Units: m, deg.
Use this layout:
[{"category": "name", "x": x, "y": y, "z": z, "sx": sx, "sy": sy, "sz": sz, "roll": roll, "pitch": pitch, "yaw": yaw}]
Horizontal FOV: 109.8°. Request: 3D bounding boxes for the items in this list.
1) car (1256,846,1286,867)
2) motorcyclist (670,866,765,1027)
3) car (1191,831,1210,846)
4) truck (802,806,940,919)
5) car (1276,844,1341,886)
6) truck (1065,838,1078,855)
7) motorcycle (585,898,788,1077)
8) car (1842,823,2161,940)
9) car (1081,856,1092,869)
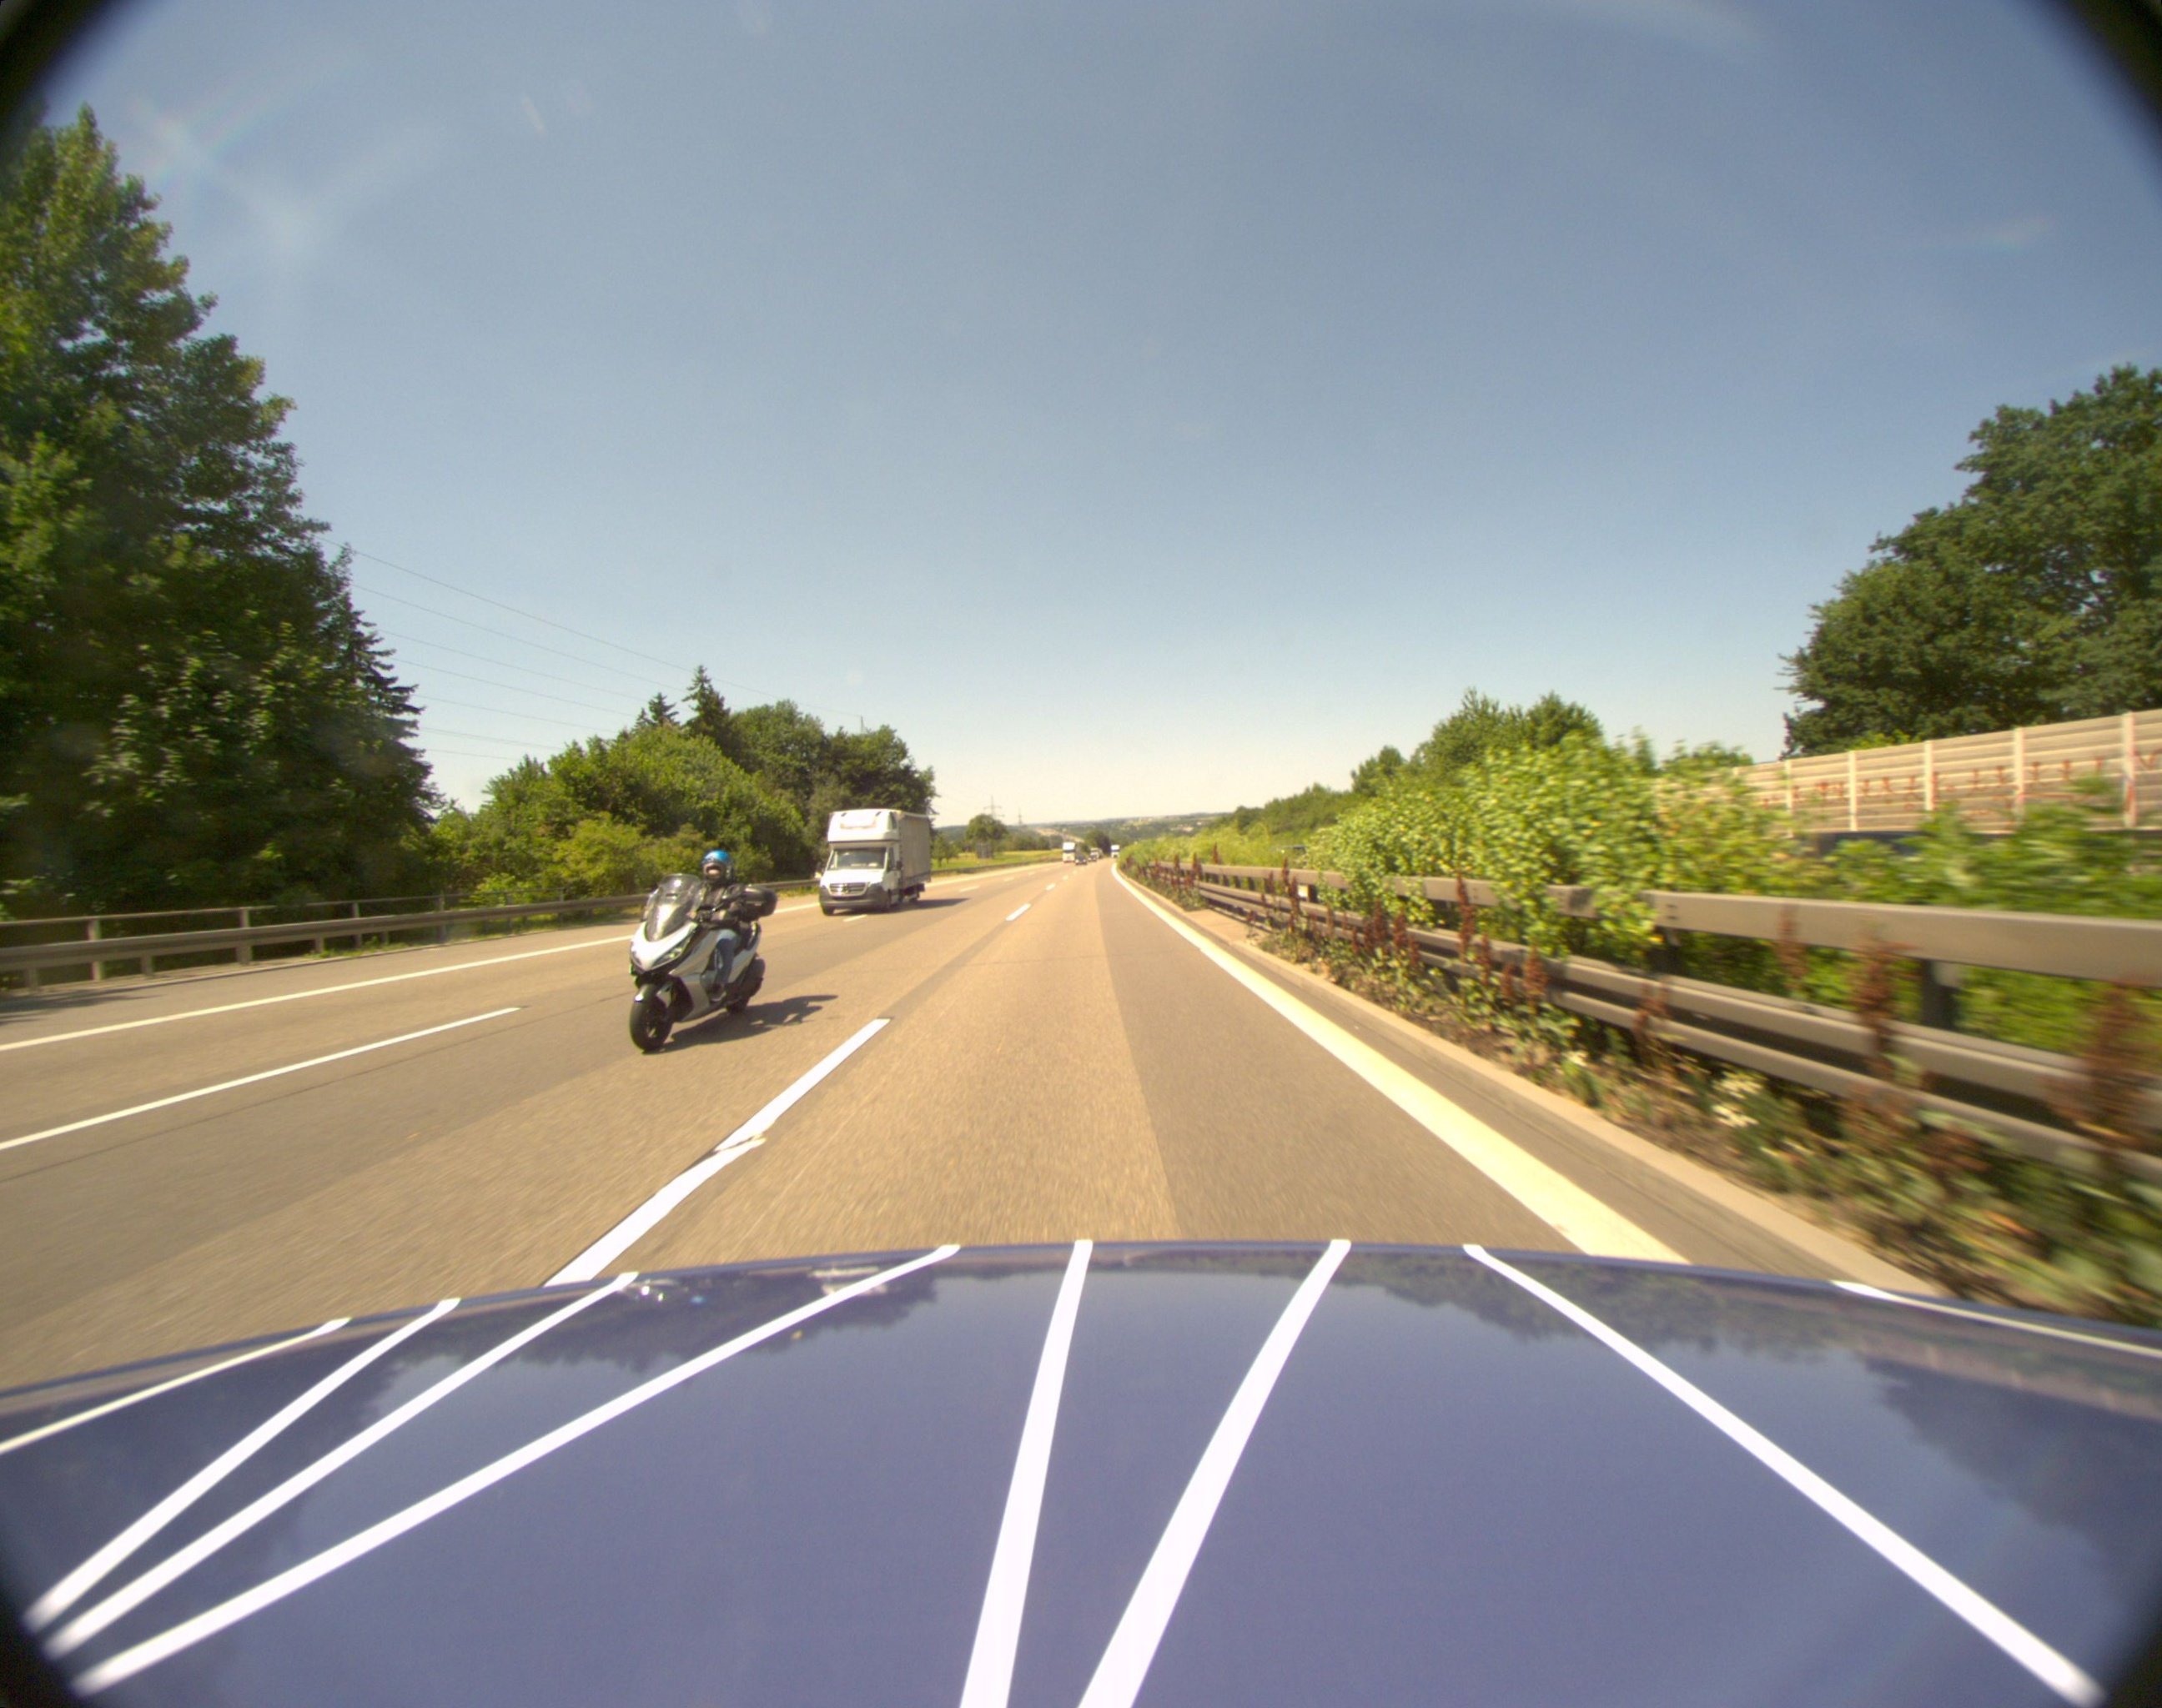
[{"category": "car", "x": 19.178, "y": 0.267, "z": 76.893, "sx": 1.998, "sy": 2.002, "sz": 4.000, "roll": -2, "pitch": 0, "yaw": 0}, {"category": "motorcyclist", "x": -3.550, "y": 0.879, "z": 7.457, "sx": 0.613, "sy": 1.499, "sz": 0.513, "roll": -2, "pitch": 1, "yaw": 0}, {"category": "car", "x": 16.821, "y": -2.172, "z": 107.164, "sx": 1.998, "sy": 2.002, "sz": 4.000, "roll": -2, "pitch": 0, "yaw": 0}, {"category": "truck", "x": -6.921, "y": 0.233, "z": 26.345, "sx": 2.513, "sy": 3.268, "sz": 8.106, "roll": -1, "pitch": 0, "yaw": 0}, {"category": "car", "x": 9.576, "y": 0.419, "z": 32.244, "sx": 1.605, "sy": 1.608, "sz": 3.873, "roll": -2, "pitch": 0, "yaw": 1}, {"category": "truck", "x": -2.044, "y": -1.560, "z": 164.137, "sx": 2.591, "sy": 3.444, "sz": 5.961, "roll": -2, "pitch": 0, "yaw": -3}, {"category": "motorcycle", "x": -3.545, "y": 1.113, "z": 7.121, "sx": 0.631, "sy": 1.279, "sz": 2.313, "roll": -3, "pitch": -1, "yaw": 0}, {"category": "car", "x": 12.773, "y": 0.292, "z": 10.280, "sx": 1.566, "sy": 1.294, "sz": 3.374, "roll": -2, "pitch": 0, "yaw": 0}, {"category": "car", "x": 0.872, "y": 1.295, "z": 122.875, "sx": 1.705, "sy": 1.958, "sz": 4.000, "roll": -2, "pitch": 0, "yaw": 0}]
